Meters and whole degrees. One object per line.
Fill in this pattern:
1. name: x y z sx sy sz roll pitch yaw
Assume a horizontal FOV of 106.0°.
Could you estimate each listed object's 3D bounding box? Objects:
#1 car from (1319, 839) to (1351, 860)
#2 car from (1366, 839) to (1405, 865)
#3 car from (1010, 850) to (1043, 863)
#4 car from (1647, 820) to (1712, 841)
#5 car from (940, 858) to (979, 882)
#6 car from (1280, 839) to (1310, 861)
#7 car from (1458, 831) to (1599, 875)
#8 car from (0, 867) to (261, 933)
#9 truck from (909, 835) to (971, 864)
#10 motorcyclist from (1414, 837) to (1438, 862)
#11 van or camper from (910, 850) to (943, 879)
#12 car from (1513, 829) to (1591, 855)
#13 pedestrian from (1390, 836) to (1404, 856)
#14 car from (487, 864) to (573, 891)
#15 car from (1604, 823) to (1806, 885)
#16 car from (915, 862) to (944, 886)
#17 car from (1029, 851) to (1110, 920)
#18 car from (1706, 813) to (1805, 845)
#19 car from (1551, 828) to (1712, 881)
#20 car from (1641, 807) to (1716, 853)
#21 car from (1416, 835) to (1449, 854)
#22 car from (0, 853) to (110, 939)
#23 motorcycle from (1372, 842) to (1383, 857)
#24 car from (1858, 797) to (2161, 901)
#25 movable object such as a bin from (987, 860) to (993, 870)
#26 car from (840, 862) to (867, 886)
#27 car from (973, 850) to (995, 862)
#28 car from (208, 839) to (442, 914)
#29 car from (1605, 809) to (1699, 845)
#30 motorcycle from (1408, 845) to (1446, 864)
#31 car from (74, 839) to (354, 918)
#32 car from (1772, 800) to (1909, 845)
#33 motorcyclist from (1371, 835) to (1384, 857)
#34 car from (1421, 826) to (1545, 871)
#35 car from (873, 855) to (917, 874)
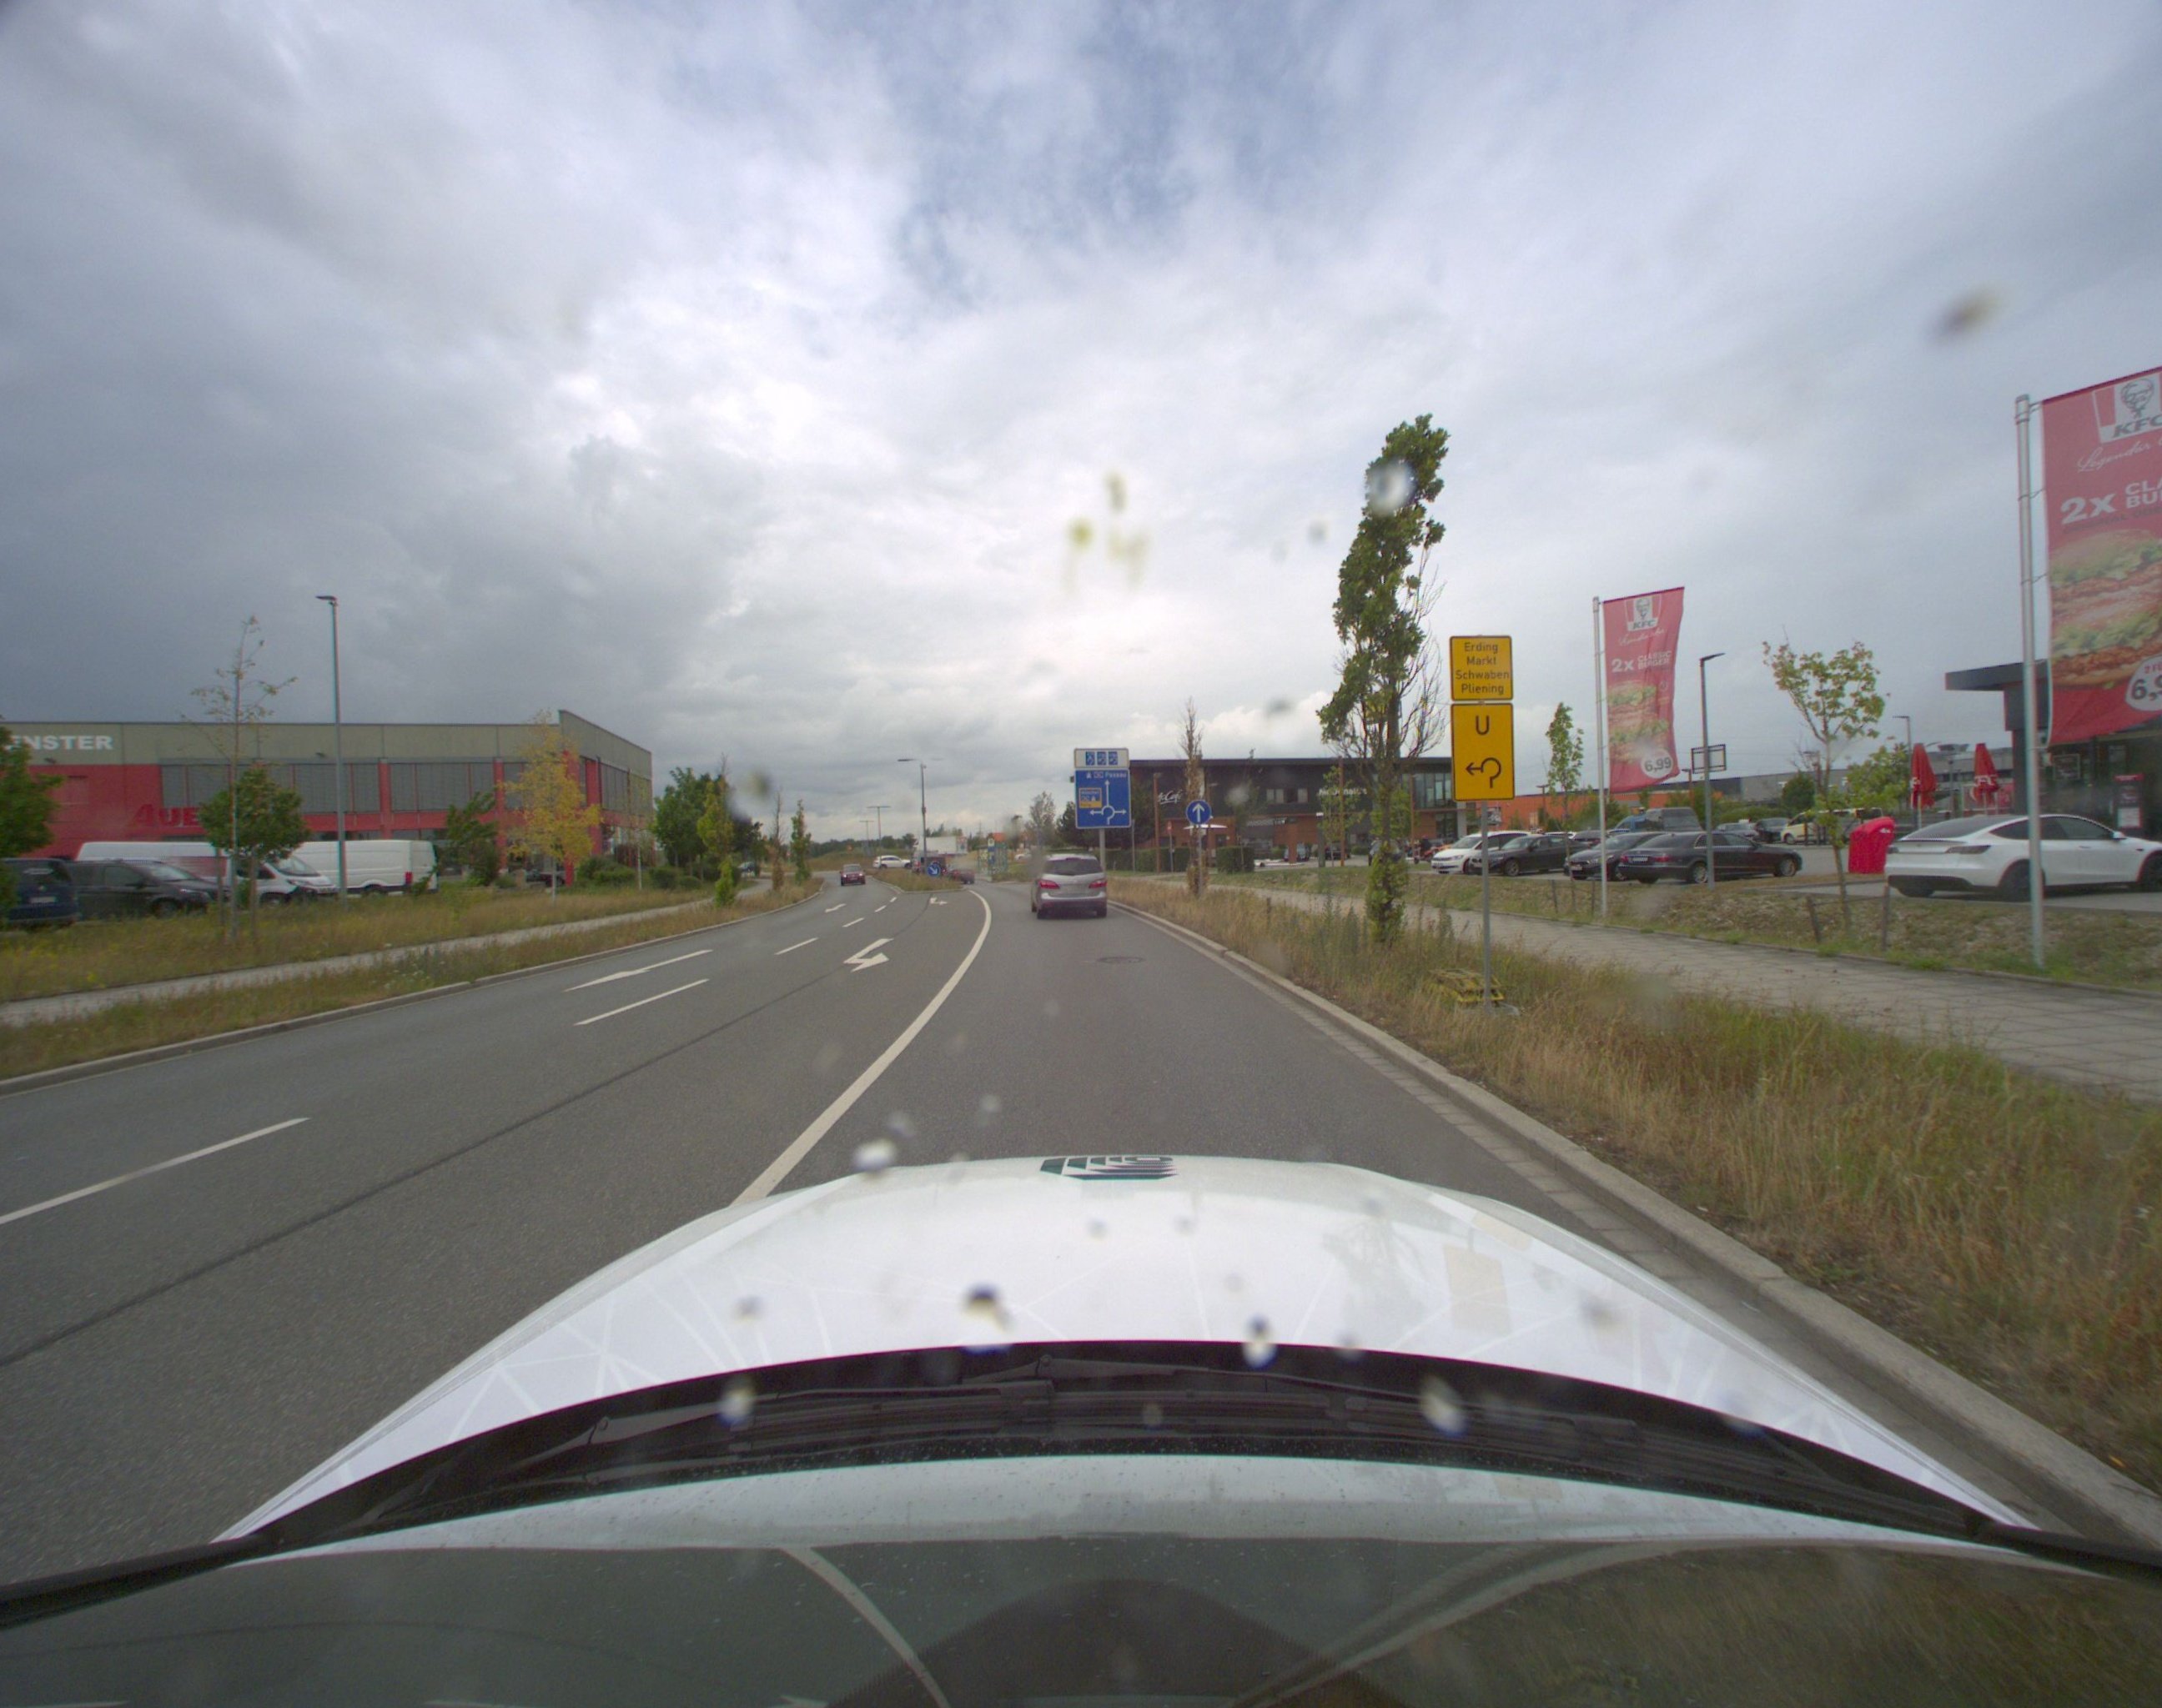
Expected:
1. car: 21.567 -0.383 69.120 2.097 1.717 4.254 -2 0 24
2. car: 16.747 -0.137 44.699 1.795 1.313 3.871 -2 1 22
3. car: -8.025 0.351 119.411 4.597 1.757 1.995 -2 0 -7
4. car: 57.480 -2.215 78.326 1.955 1.779 4.736 -2 0 -17
5. car: -7.952 0.989 53.144 1.850 1.418 4.199 -2 0 -18
6. car: 17.802 -0.361 67.668 1.977 1.717 4.021 -2 0 20
7. car: 16.971 -0.053 30.960 4.473 1.436 2.065 -3 0 -13
8. car: -28.121 1.295 24.174 4.913 1.616 1.983 -2 0 -17
9. truck: -21.031 -0.657 121.024 9.214 3.906 3.163 -2 0 33
10. motorcyclist: 18.975 -0.256 44.761 0.784 1.334 0.888 -2 0 -27
11. van or camper: -14.395 0.951 75.732 2.309 2.506 5.174 -2 0 -18
12. car: 34.039 -0.889 59.025 4.675 1.656 2.011 -2 0 24
13. pedestrian: 23.346 -0.561 60.171 0.761 1.439 0.628 -2 0 42
14. car: -36.470 1.540 53.969 1.975 1.552 4.414 -2 0 44
15. car: 17.600 -0.016 23.072 4.517 1.469 2.025 -3 0 -10
16. car: -12.831 1.653 68.940 2.061 1.826 4.762 -2 0 -14
17. car: -0.389 0.743 21.226 1.728 1.600 3.798 -1 0 -6
18. car: 44.249 -1.639 53.550 1.873 1.816 4.641 -2 0 -34
19. car: 17.557 -0.011 26.049 4.086 1.438 1.935 -3 0 -12
20. car: 36.612 -1.462 50.126 2.253 2.501 7.371 -2 1 25
21. car: 30.781 -0.805 71.366 1.979 1.581 4.016 -2 0 14
22. car: -27.462 1.083 19.692 4.896 1.990 2.174 -2 0 -7
23. motorcycle: 25.112 -0.406 68.981 0.849 1.244 1.977 -2 0 21
24. car: 18.550 -0.122 16.100 4.554 1.645 2.085 -4 0 -5
25. movable object such as a bin: -7.285 0.849 65.156 0.457 0.798 0.378 -2 0 -18
26. car: -17.958 1.578 64.145 1.803 1.669 4.301 -5 0 -17
27. car: -13.415 0.267 112.399 2.001 1.515 3.971 -2 0 -21
28. car: -29.583 0.835 32.149 6.416 2.598 2.233 -2 0 -14
29. car: 45.192 -2.109 64.641 5.969 2.528 2.296 -2 0 33
30. motorcycle: 18.994 0.032 44.722 0.742 0.985 1.808 -2 0 -27
31. car: -28.674 0.754 27.224 6.079 2.307 2.199 -2 0 -15
32. car: 44.049 -1.750 47.459 2.521 2.351 5.687 -2 0 -2
33. motorcyclist: 25.099 -0.710 68.997 0.953 1.832 0.850 -2 0 21
34. car: 16.467 -0.229 33.423 4.356 1.639 1.927 -3 0 -16
35. car: -21.415 1.196 93.626 4.630 2.013 1.984 -2 0 -24
